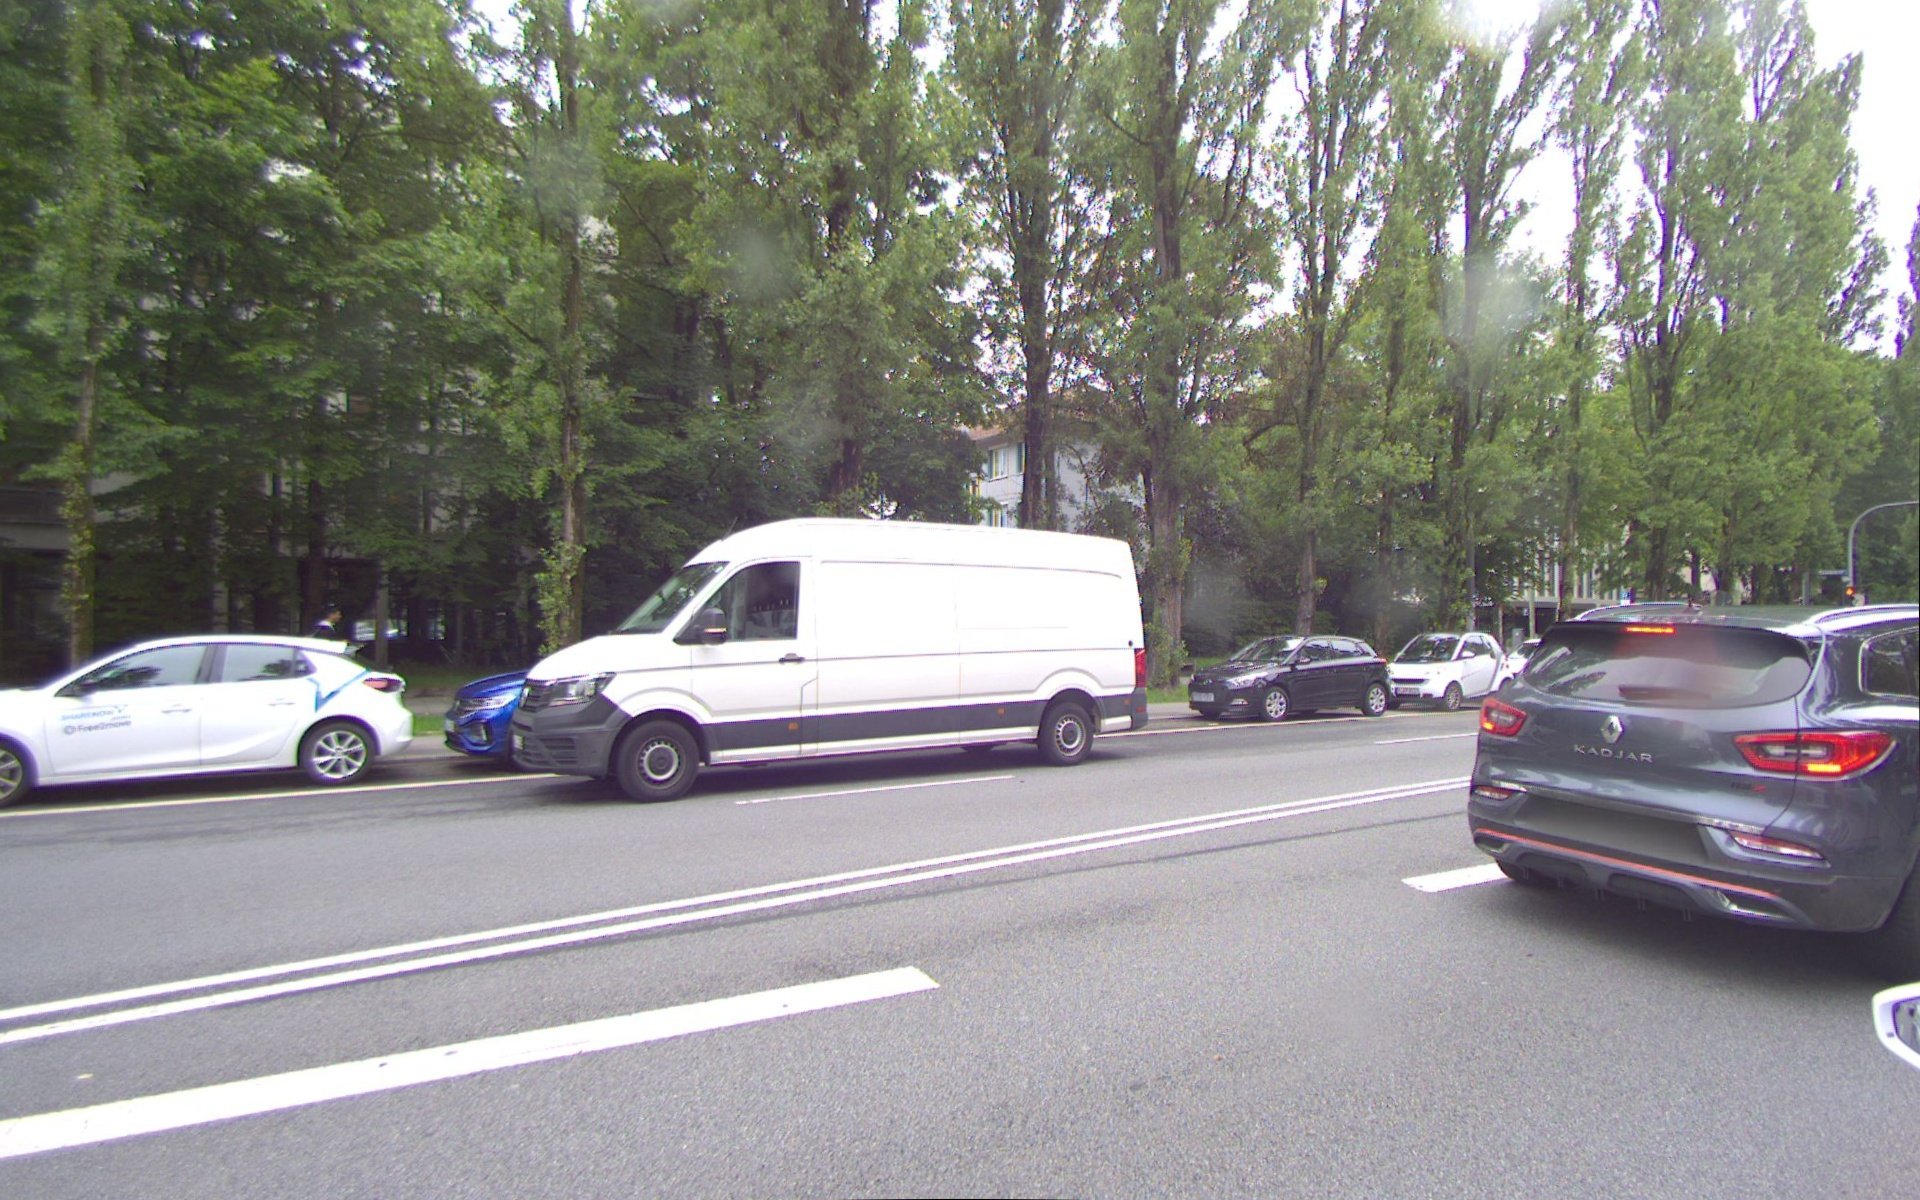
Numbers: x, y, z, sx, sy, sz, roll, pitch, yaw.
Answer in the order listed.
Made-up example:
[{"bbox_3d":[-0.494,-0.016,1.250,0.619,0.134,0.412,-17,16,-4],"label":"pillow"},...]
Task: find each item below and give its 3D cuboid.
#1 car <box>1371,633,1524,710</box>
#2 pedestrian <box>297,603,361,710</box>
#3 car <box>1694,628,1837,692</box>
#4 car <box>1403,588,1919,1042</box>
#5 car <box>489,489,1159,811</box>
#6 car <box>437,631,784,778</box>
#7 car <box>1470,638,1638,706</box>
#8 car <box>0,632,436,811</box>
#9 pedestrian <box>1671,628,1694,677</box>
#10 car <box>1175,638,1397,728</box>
[{"bbox_3d":[9.935,1.438,20.450,2.932,1.466,1.420,1,-4,-32],"label":"car"},{"bbox_3d":[-10.995,0.969,17.534,0.879,1.795,0.733,1,0,-30],"label":"pedestrian"},{"bbox_3d":[23.046,1.684,28.681,4.646,1.675,1.838,1,-4,-34],"label":"car"},{"bbox_3d":[4.530,0.788,5.350,4.133,1.607,1.828,1,0,-28],"label":"car"},{"bbox_3d":[-1.156,0.498,10.583,6.683,2.515,2.216,1,-3,-32],"label":"car"},{"bbox_3d":[-4.046,1.135,11.754,3.547,1.470,1.700,1,-4,-33],"label":"car"},{"bbox_3d":[13.448,1.585,22.663,4.123,1.407,1.614,1,-4,-34],"label":"car"},{"bbox_3d":[-7.463,1.074,9.647,4.187,1.471,1.761,1,-4,-33],"label":"car"},{"bbox_3d":[22.837,1.647,31.760,0.390,1.548,0.463,1,-1,-30],"label":"pedestrian"},{"bbox_3d":[5.828,1.432,17.892,3.805,1.444,1.594,1,-4,-30],"label":"car"}]
